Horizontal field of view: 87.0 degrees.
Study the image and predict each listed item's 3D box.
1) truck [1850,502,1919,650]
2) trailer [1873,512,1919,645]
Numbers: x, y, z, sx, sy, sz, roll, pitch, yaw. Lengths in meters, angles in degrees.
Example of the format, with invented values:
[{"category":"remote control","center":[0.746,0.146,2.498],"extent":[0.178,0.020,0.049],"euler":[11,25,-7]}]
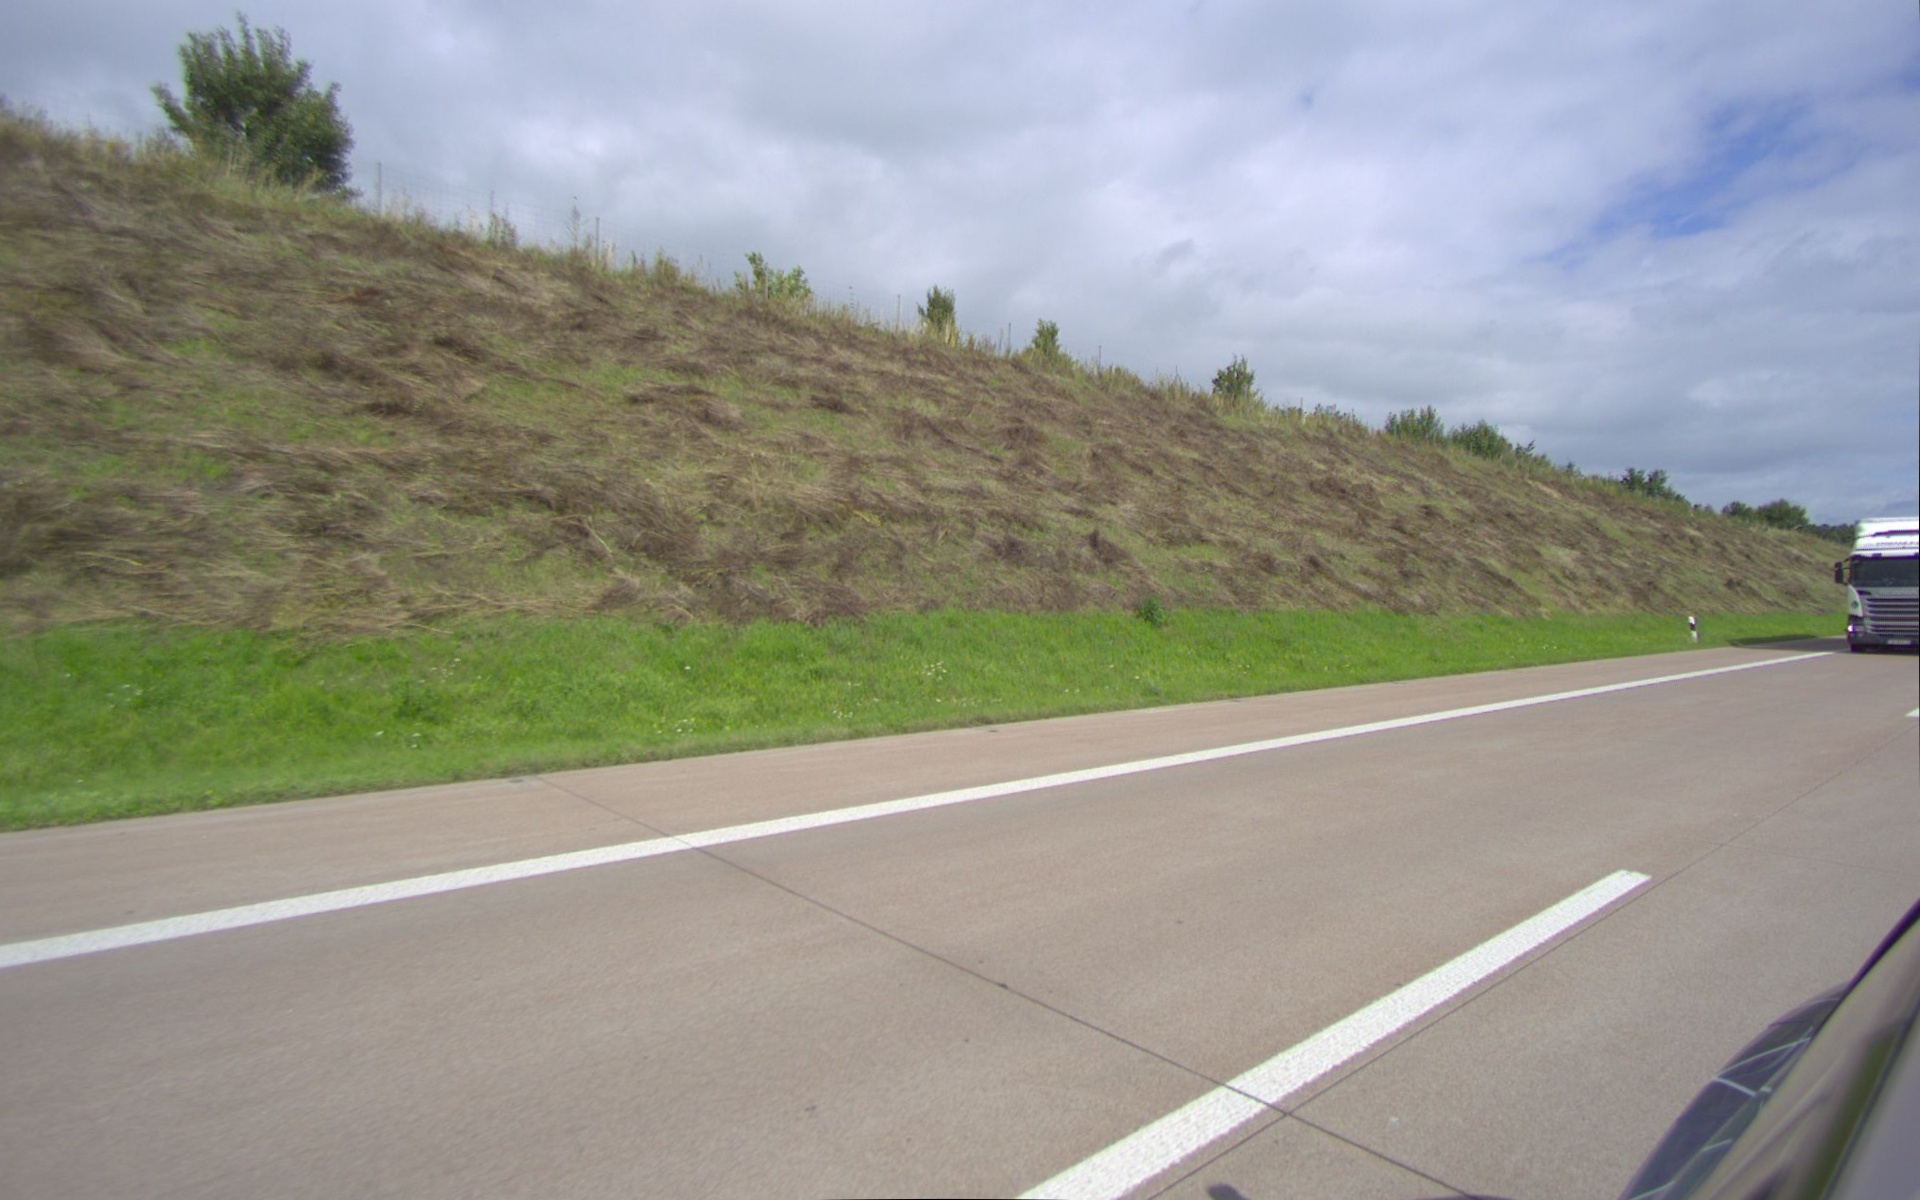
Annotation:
[{"category":"truck","center":[29.351,-0.664,30.714],"extent":[6.500,4.158,2.679],"euler":[0,0,-41]},{"category":"trailer","center":[34.782,-0.642,35.452],"extent":[12.565,4.145,2.677],"euler":[0,0,-41]}]
